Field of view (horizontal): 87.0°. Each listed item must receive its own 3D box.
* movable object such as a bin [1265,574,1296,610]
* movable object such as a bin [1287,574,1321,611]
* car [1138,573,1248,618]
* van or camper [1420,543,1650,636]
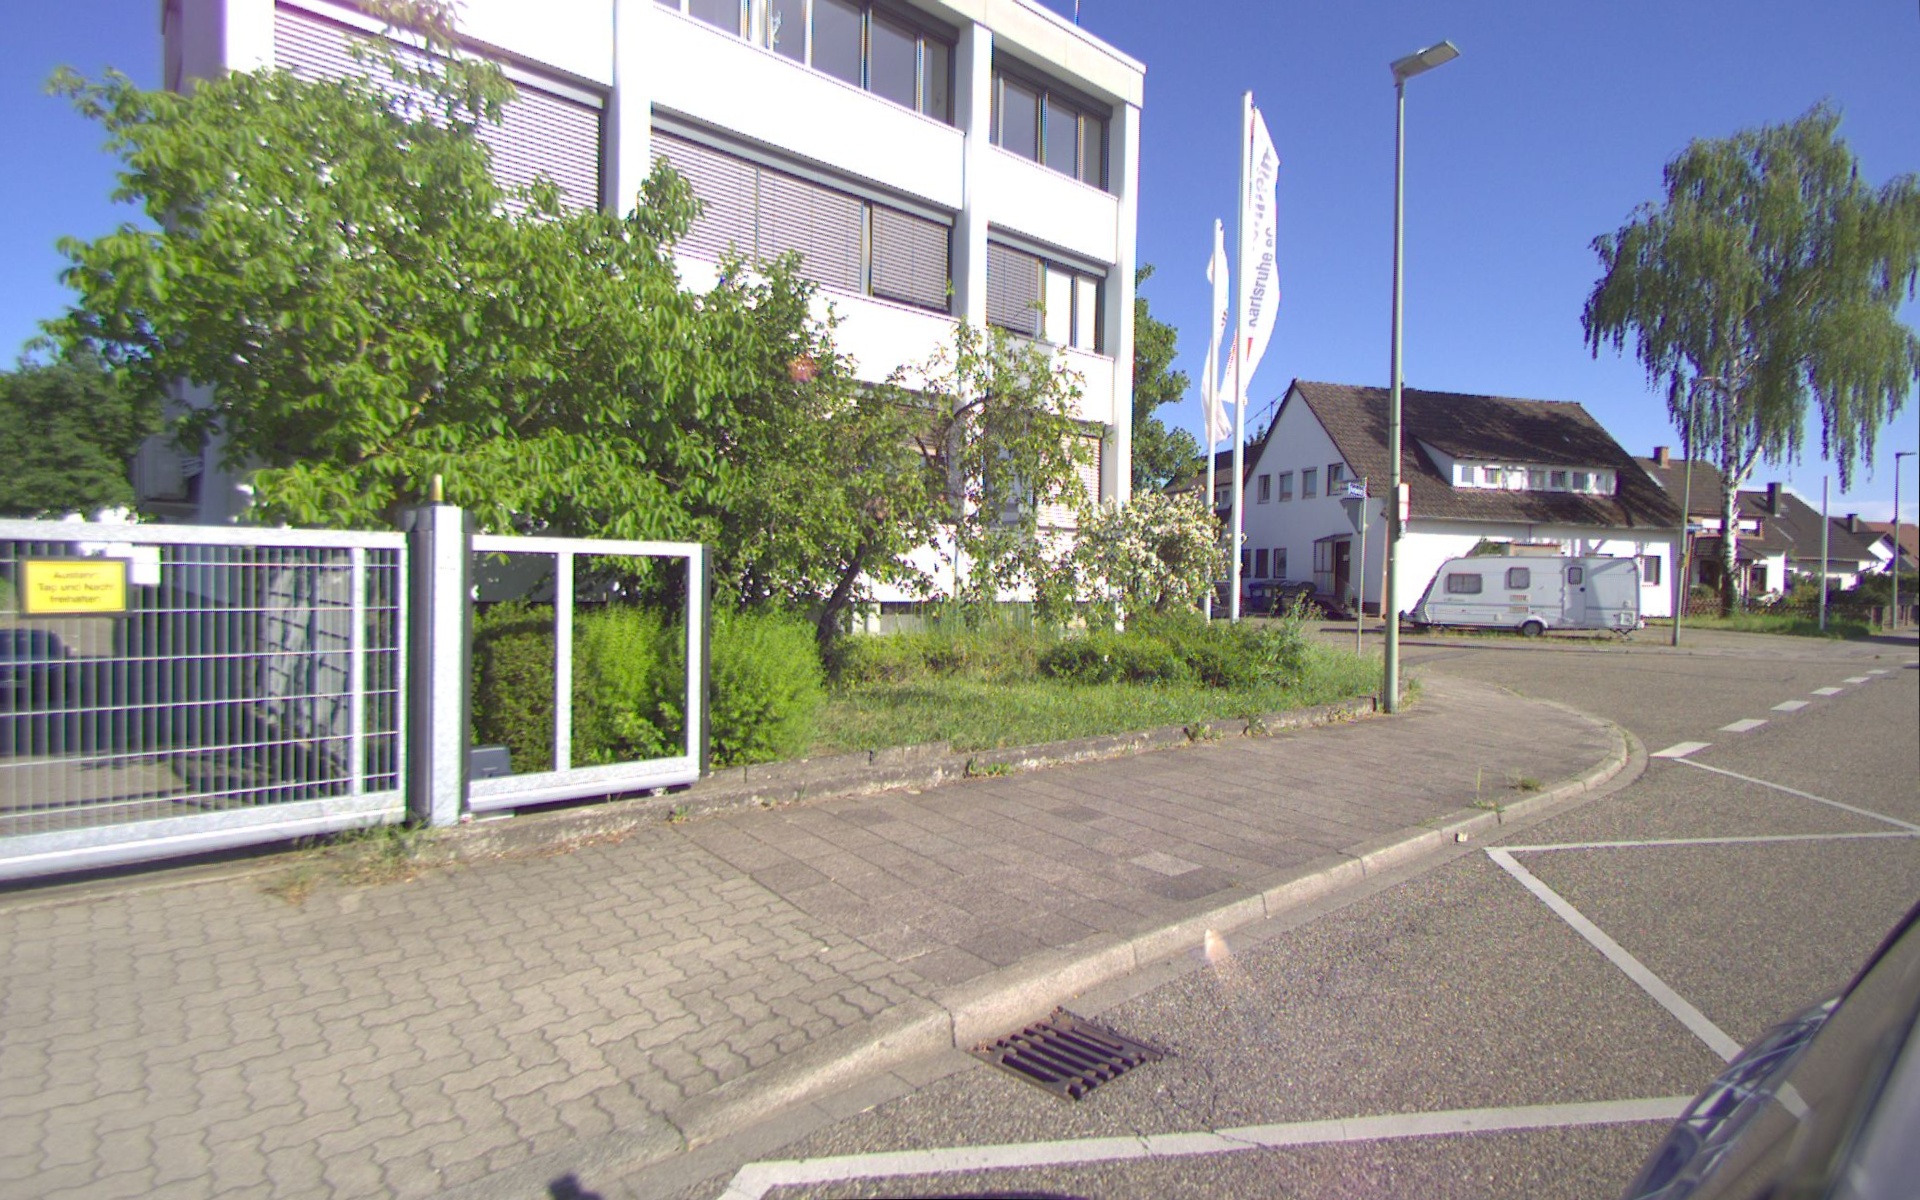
[{"bbox_3d":[13.230,-0.355,41.788,0.587,1.454,1.197,1,1,-17],"label":"movable object such as a bin"},{"bbox_3d":[13.784,-0.288,40.582,0.970,1.454,0.838,1,1,-17],"label":"movable object such as a bin"},{"bbox_3d":[8.993,-0.226,38.895,4.551,1.455,1.719,-4,4,-40],"label":"car"},{"bbox_3d":[17.160,-0.385,30.642,5.770,2.573,2.271,2,2,24],"label":"van or camper"}]
